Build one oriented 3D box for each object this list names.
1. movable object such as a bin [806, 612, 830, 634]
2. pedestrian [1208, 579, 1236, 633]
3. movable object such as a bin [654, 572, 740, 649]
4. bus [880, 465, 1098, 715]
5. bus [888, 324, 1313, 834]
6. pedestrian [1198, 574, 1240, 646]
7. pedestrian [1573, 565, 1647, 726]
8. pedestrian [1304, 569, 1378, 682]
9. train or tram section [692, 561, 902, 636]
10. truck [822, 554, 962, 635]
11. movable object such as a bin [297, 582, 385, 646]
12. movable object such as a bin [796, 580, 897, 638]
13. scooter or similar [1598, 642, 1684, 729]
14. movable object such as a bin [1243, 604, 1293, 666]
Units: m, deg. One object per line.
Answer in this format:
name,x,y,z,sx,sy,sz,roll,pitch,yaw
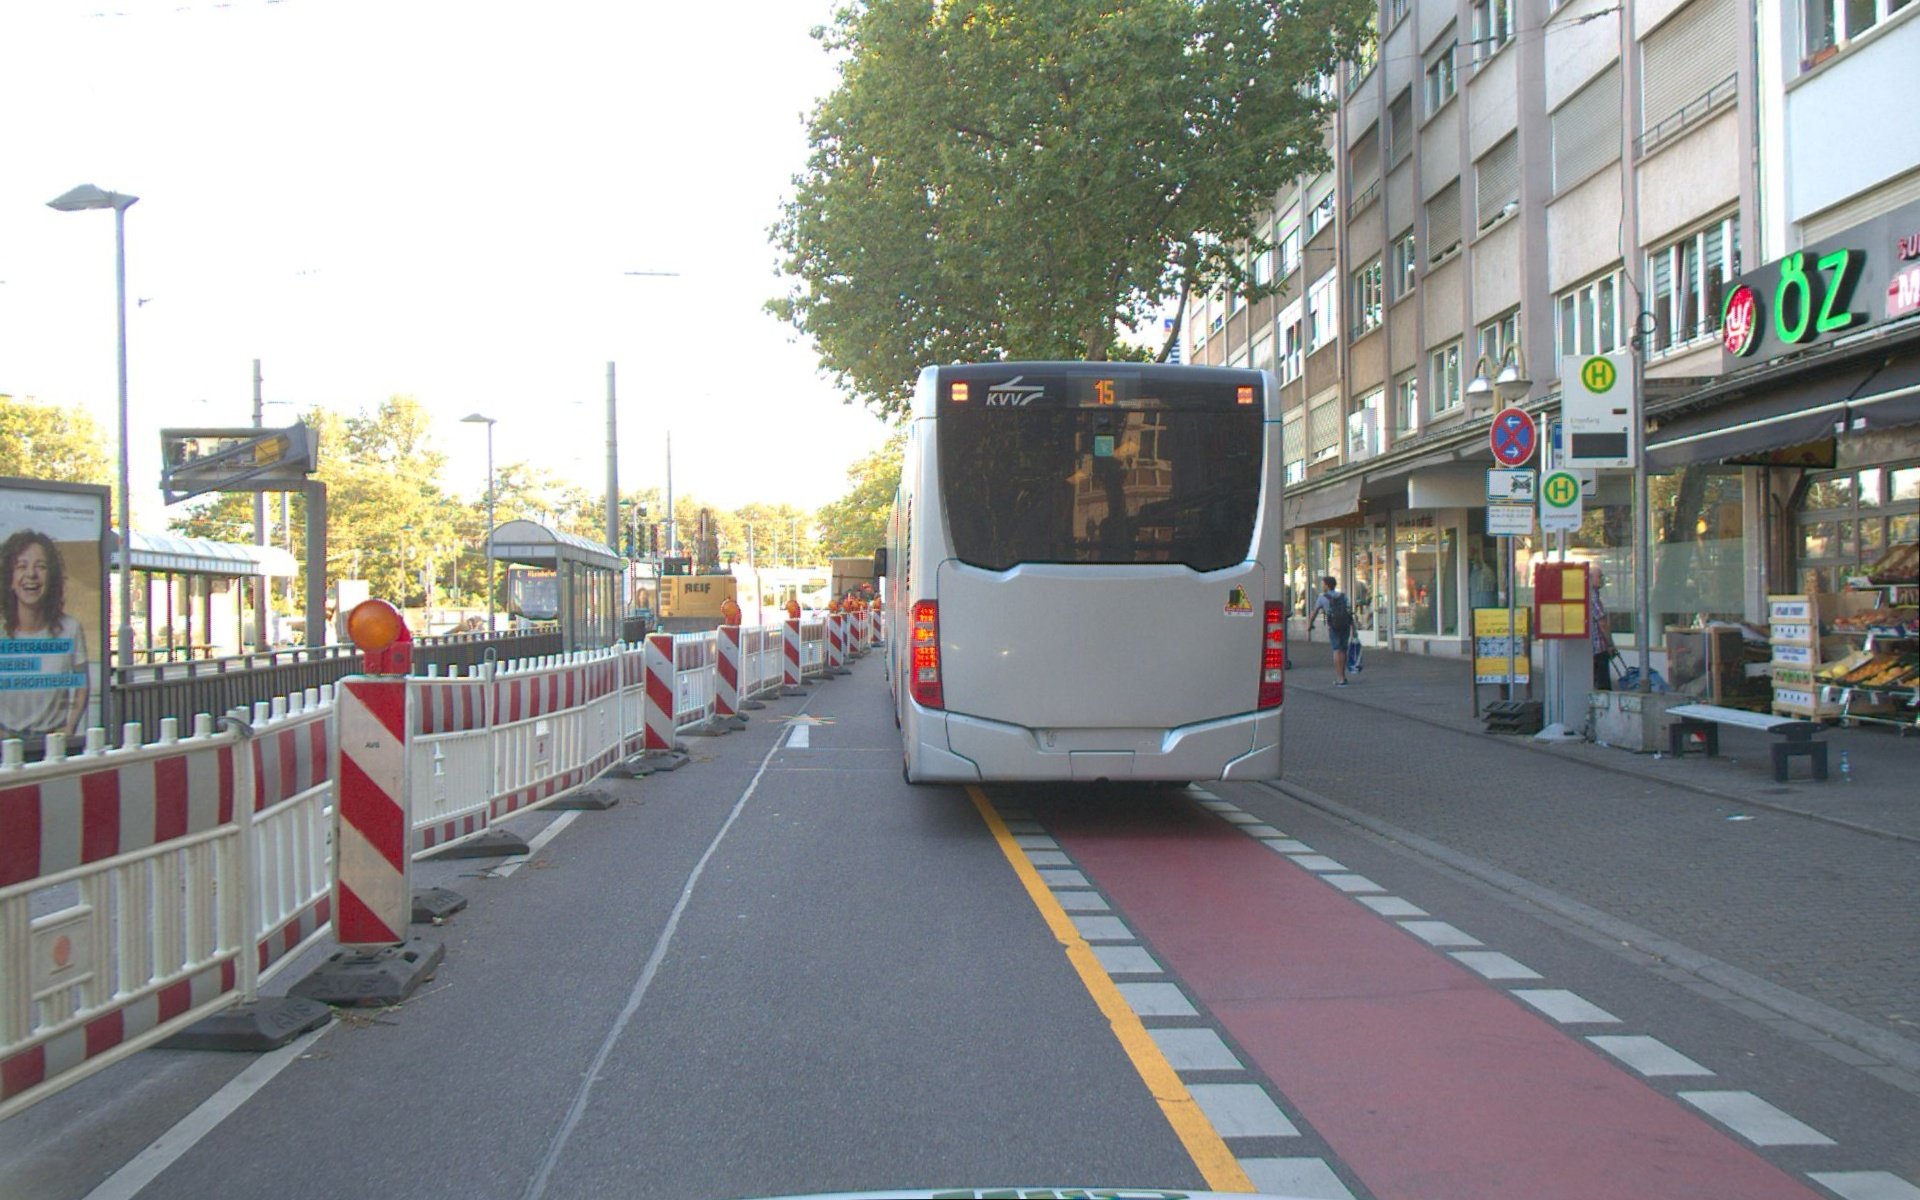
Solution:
movable object such as a bin,-6.227,1.014,72.753,0.913,0.933,1.420,-1,0,0
pedestrian,7.987,0.183,50.521,0.620,1.601,0.774,-3,1,-2
movable object such as a bin,-8.428,0.312,53.390,2.593,2.358,4.894,0,0,-8
bus,0.163,-0.132,25.590,2.655,3.161,8.973,-1,0,-3
bus,0.664,-0.150,15.767,2.678,3.194,10.698,0,0,-3
pedestrian,7.173,0.263,45.838,0.821,1.901,1.099,-5,0,-2
pedestrian,6.997,0.484,17.822,0.631,1.702,0.556,-1,0,10
pedestrian,5.926,0.386,25.768,0.826,1.702,0.990,-2,0,-2
train or tram section,-8.180,-0.095,85.938,2.801,3.595,13.348,-1,0,35
truck,-3.073,-0.253,78.308,2.756,3.603,8.977,-1,0,25
movable object such as a bin,-27.284,0.610,73.080,2.107,2.685,4.599,-1,0,0
movable object such as a bin,-4.638,0.333,68.558,1.954,2.296,5.205,1,0,24
scooter or similar,7.080,0.881,17.220,0.564,0.858,0.733,0,0,-4
movable object such as a bin,5.793,0.652,31.160,0.660,1.094,1.228,-1,1,-1
